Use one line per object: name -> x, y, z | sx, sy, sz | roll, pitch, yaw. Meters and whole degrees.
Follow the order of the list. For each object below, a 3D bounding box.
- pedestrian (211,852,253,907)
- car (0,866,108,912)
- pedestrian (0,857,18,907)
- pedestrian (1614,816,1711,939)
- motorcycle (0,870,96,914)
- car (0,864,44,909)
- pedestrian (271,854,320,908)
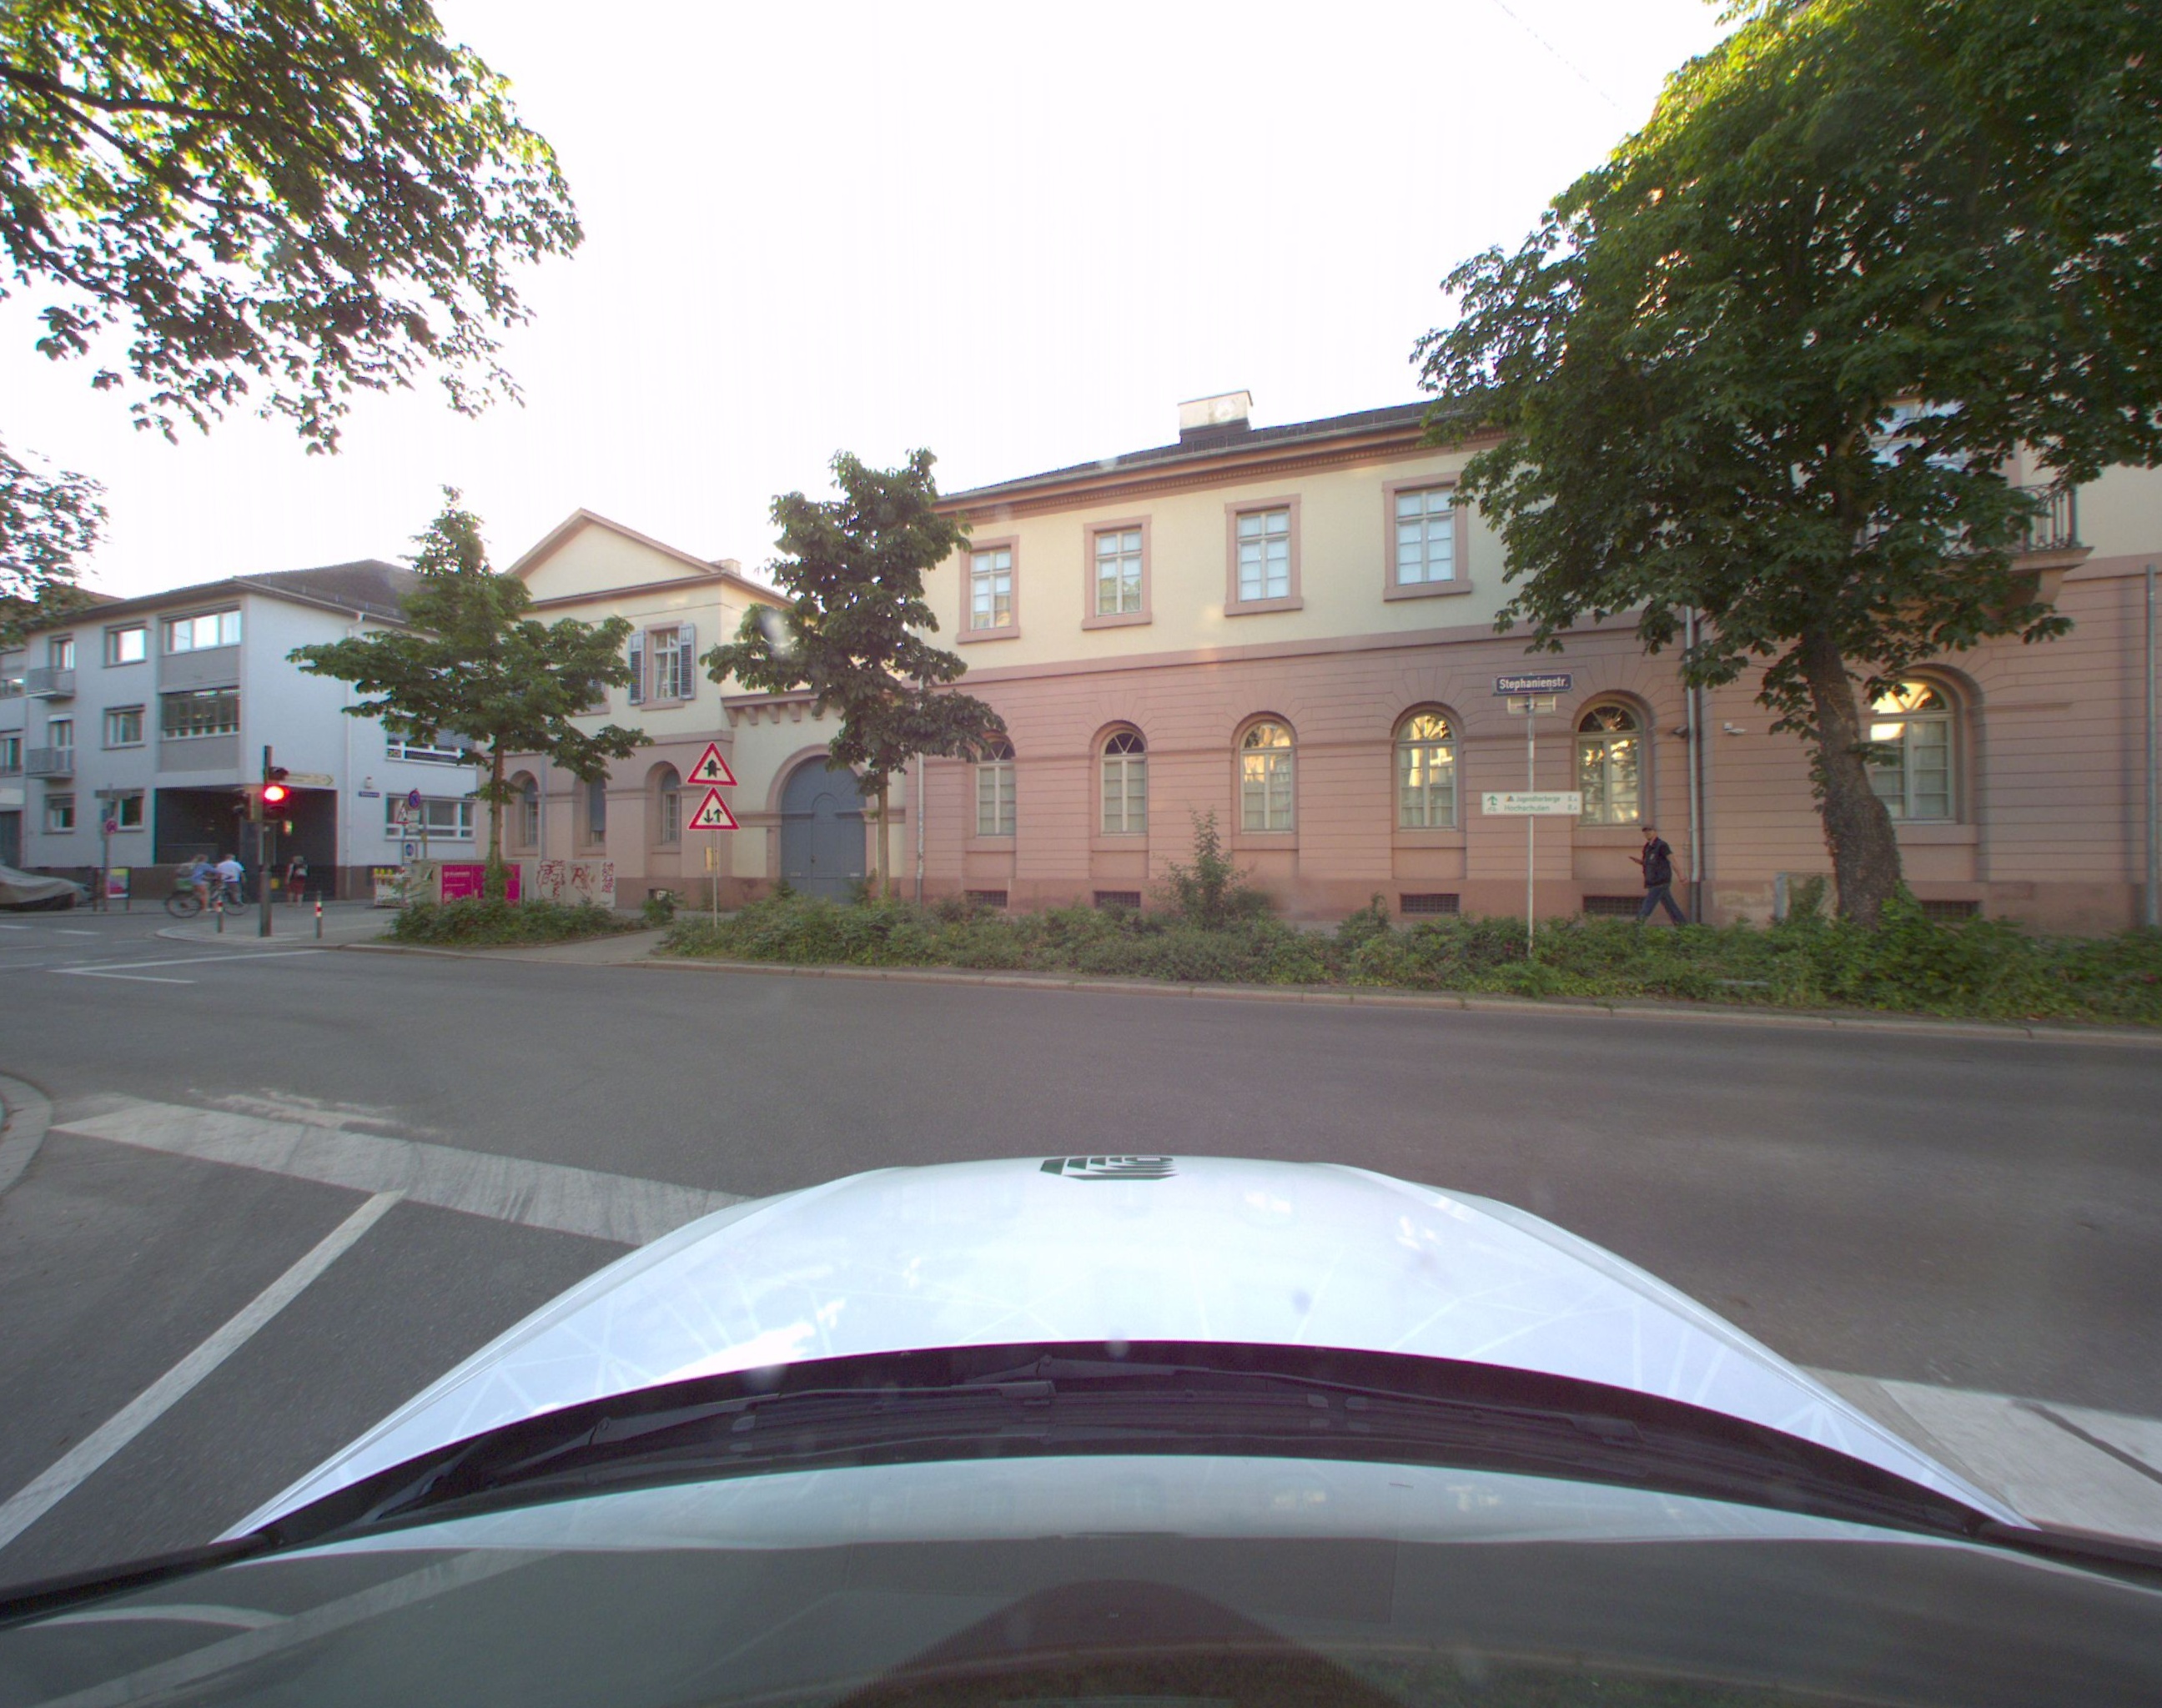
pedestrian -> -27.345, 0.817, 26.229 | 0.691, 1.752, 0.710 | 0, -1, 24
car -> -33.291, 1.078, 24.989 | 1.687, 1.342, 4.049 | 0, 0, 21
pedestrian -> -39.869, 1.017, 29.888 | 0.932, 1.841, 0.773 | 0, -1, 21
pedestrian -> 9.063, 0.358, 12.738 | 1.069, 1.839, 0.805 | 0, -1, 23
motorcycle -> -30.371, 1.094, 23.891 | 0.605, 1.199, 1.817 | -1, 0, 30
car -> -35.884, 1.063, 25.403 | 1.687, 1.442, 4.048 | 0, 0, 21
pedestrian -> -26.165, 0.892, 27.126 | 0.761, 1.752, 0.939 | 0, -1, 25
